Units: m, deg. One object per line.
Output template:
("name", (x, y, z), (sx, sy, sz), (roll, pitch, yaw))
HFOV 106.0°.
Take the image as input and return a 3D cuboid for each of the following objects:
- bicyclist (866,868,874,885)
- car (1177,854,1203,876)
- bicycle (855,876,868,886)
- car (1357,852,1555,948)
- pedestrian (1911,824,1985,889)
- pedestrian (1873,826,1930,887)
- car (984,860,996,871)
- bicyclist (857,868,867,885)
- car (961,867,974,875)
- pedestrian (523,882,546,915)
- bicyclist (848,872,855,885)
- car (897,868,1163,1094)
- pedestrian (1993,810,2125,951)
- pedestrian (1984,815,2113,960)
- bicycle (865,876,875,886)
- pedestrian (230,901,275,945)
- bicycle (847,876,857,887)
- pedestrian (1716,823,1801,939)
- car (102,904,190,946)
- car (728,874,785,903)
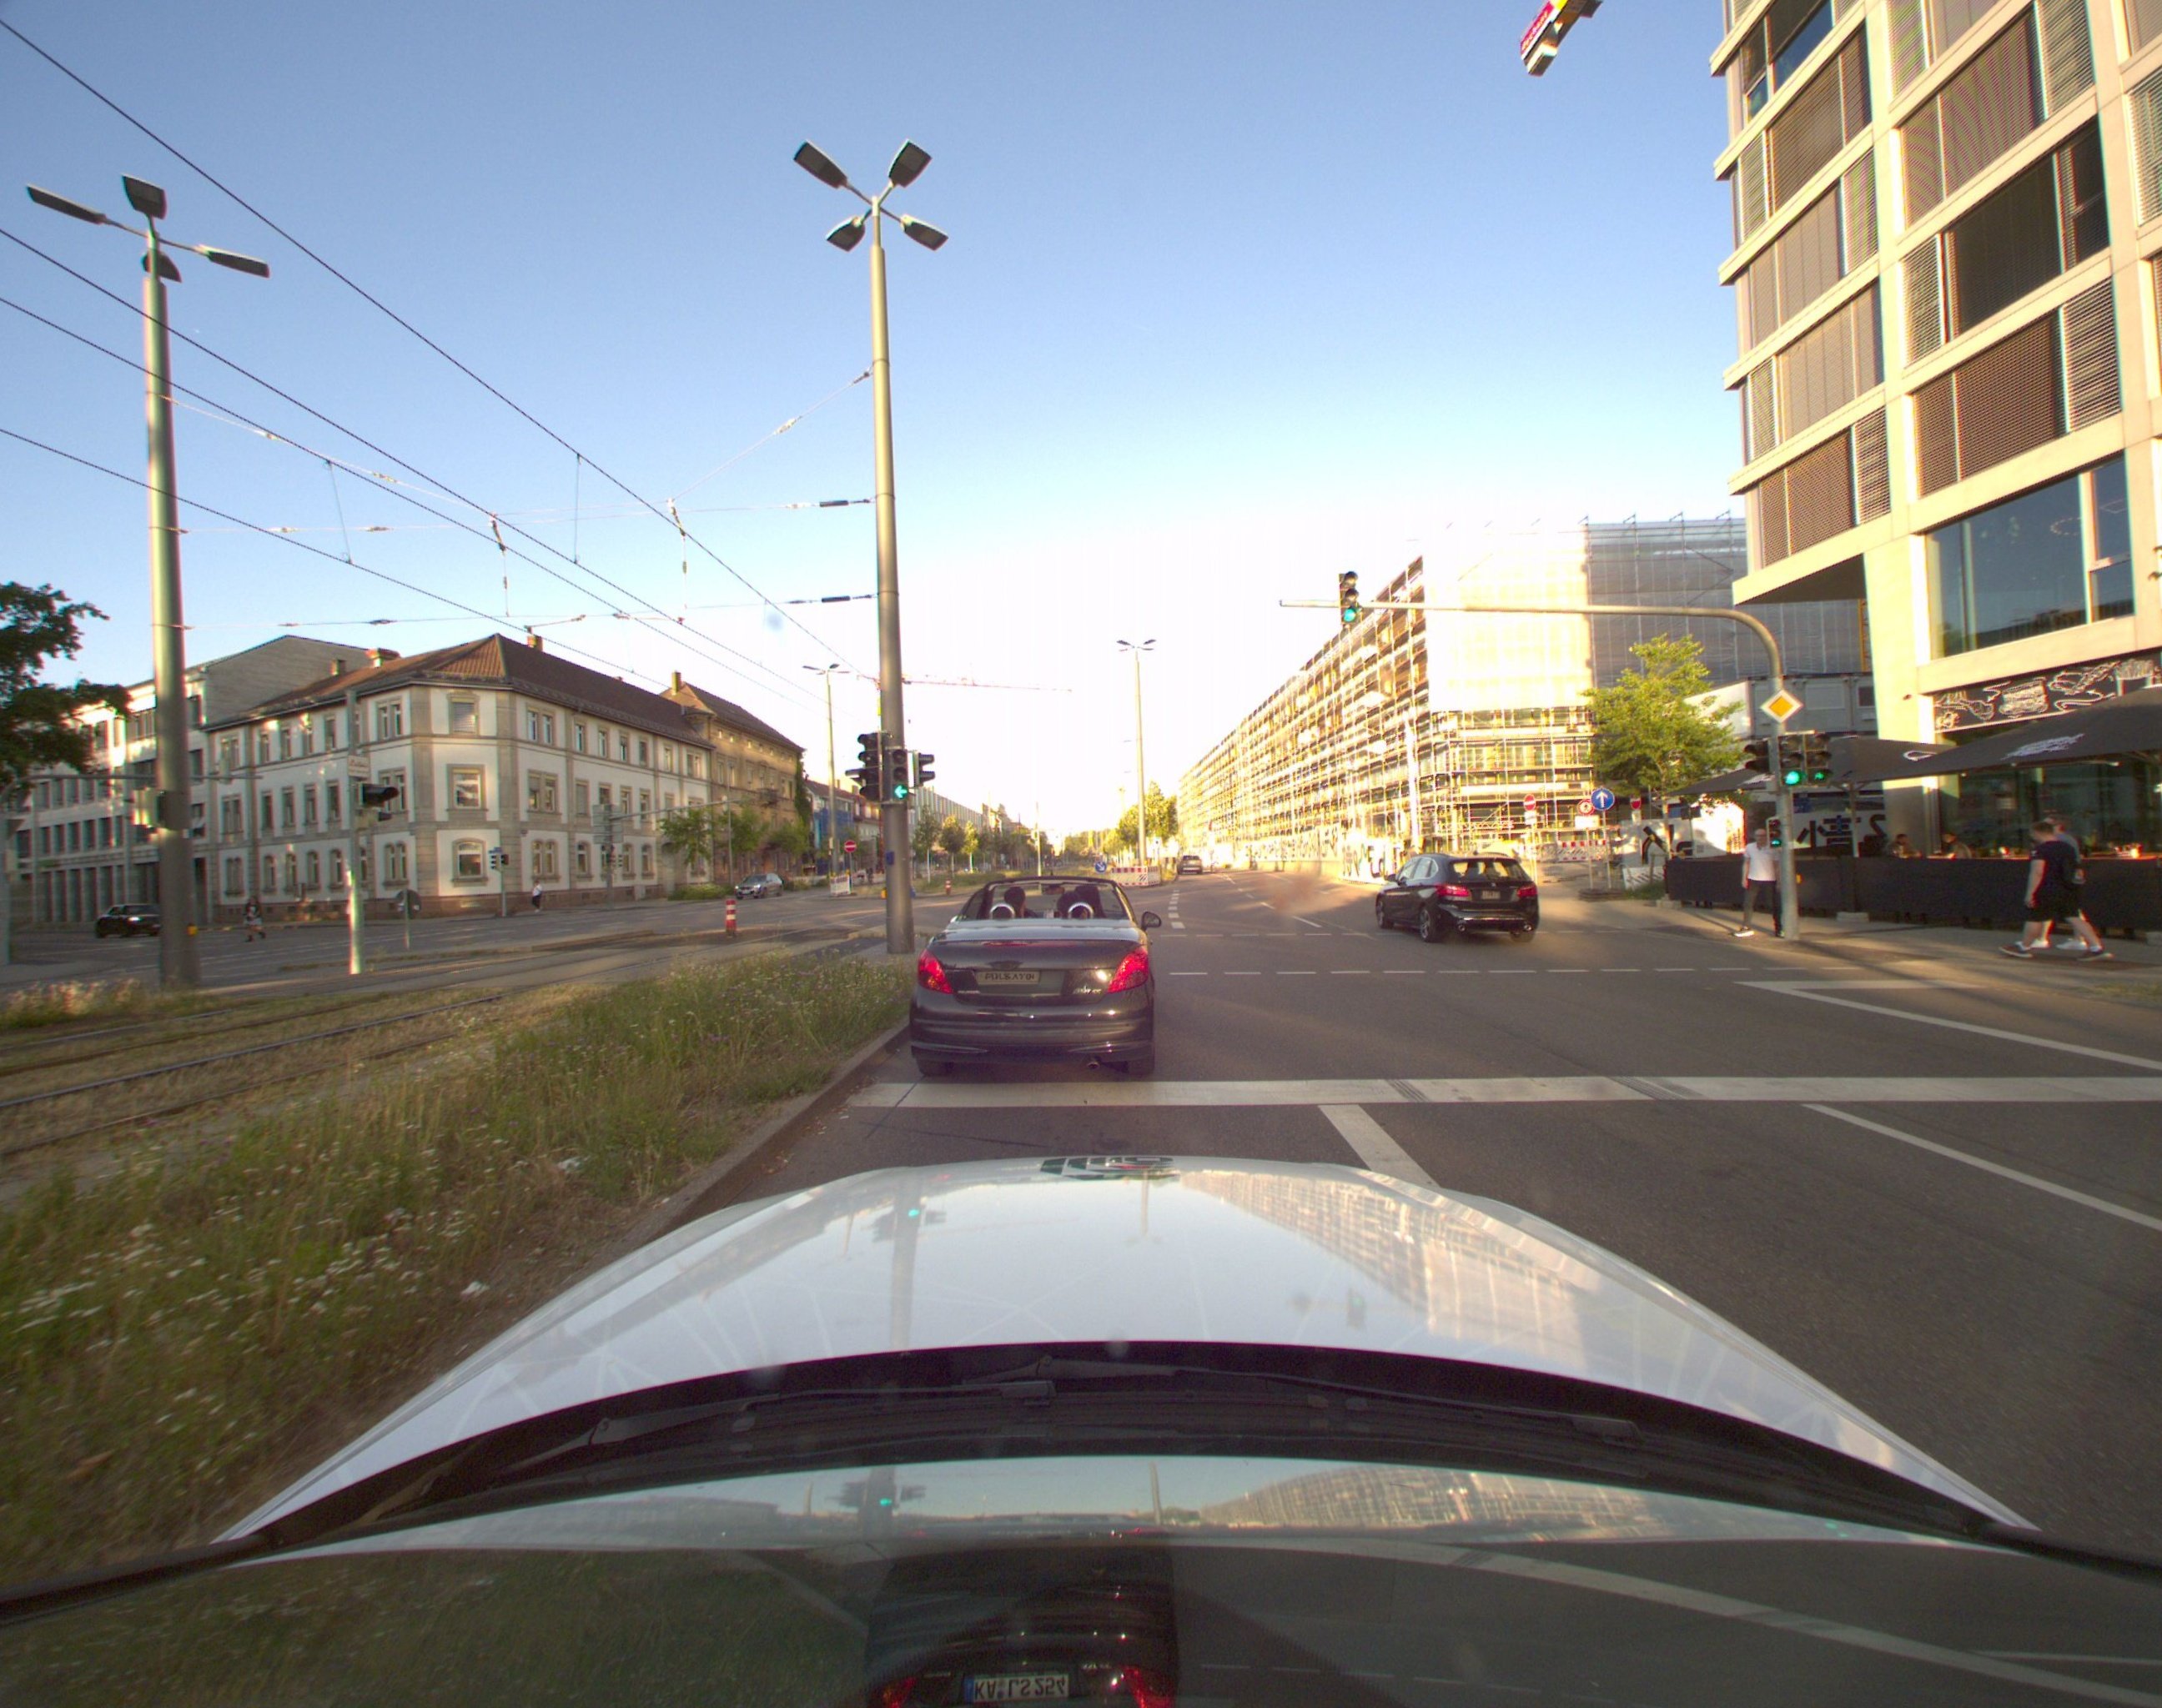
("bicyclist", (-20.604, 2.194, 79.507), (0.587, 1.569, 0.711), (0, 0, 1))
("car", (8.854, 0.856, 66.247), (1.826, 1.672, 4.287), (-1, 0, 4))
("bicycle", (-21.547, 2.639, 80.044), (0.769, 0.945, 1.640), (0, 0, 1))
("car", (6.862, 0.753, 15.555), (1.813, 1.519, 4.796), (-1, 0, 3))
("pedestrian", (18.756, 0.049, 17.637), (0.740, 1.319, 0.717), (-5, -1, 13))
("pedestrian", (18.737, 0.052, 18.608), (0.608, 1.319, 0.624), (-5, -1, 18))
("car", (-16.765, 2.049, 149.917), (1.651, 1.964, 4.268), (0, 0, 2))
("bicyclist", (-21.546, 2.198, 80.050), (0.769, 1.571, 0.793), (0, 0, 1))
("car", (-20.883, 3.082, 150.224), (1.651, 1.431, 3.896), (0, 0, 2))
("pedestrian", (-29.131, 2.344, 43.434), (0.695, 1.716, 0.818), (-1, -1, 35))
("bicyclist", (-21.838, 2.333, 77.505), (0.588, 1.266, 0.460), (0, -1, -1))
("car", (-0.253, 0.843, 7.166), (1.668, 1.352, 4.002), (-1, 0, 2))
("pedestrian", (12.777, 0.335, 10.667), (0.683, 1.735, 0.761), (-5, 0, 0))
("pedestrian", (12.018, 0.405, 10.140), (0.651, 1.702, 0.689), (-4, 0, 0))
("bicycle", (-20.603, 2.610, 79.503), (0.587, 0.975, 1.556), (0, 0, 2))
("pedestrian", (-28.520, 2.357, 28.047), (0.601, 1.458, 0.936), (0, -1, -1))
("bicycle", (-21.837, 2.611, 77.664), (0.588, 0.989, 1.556), (0, 0, 0))
("pedestrian", (11.348, 0.440, 13.652), (0.678, 1.847, 0.766), (-3, 0, -16))
("car", (-40.818, 3.069, 35.542), (3.949, 1.555, 1.801), (-1, 0, 30))
("car", (-21.390, 2.254, 53.857), (1.986, 1.580, 4.125), (-4, 0, 1))
